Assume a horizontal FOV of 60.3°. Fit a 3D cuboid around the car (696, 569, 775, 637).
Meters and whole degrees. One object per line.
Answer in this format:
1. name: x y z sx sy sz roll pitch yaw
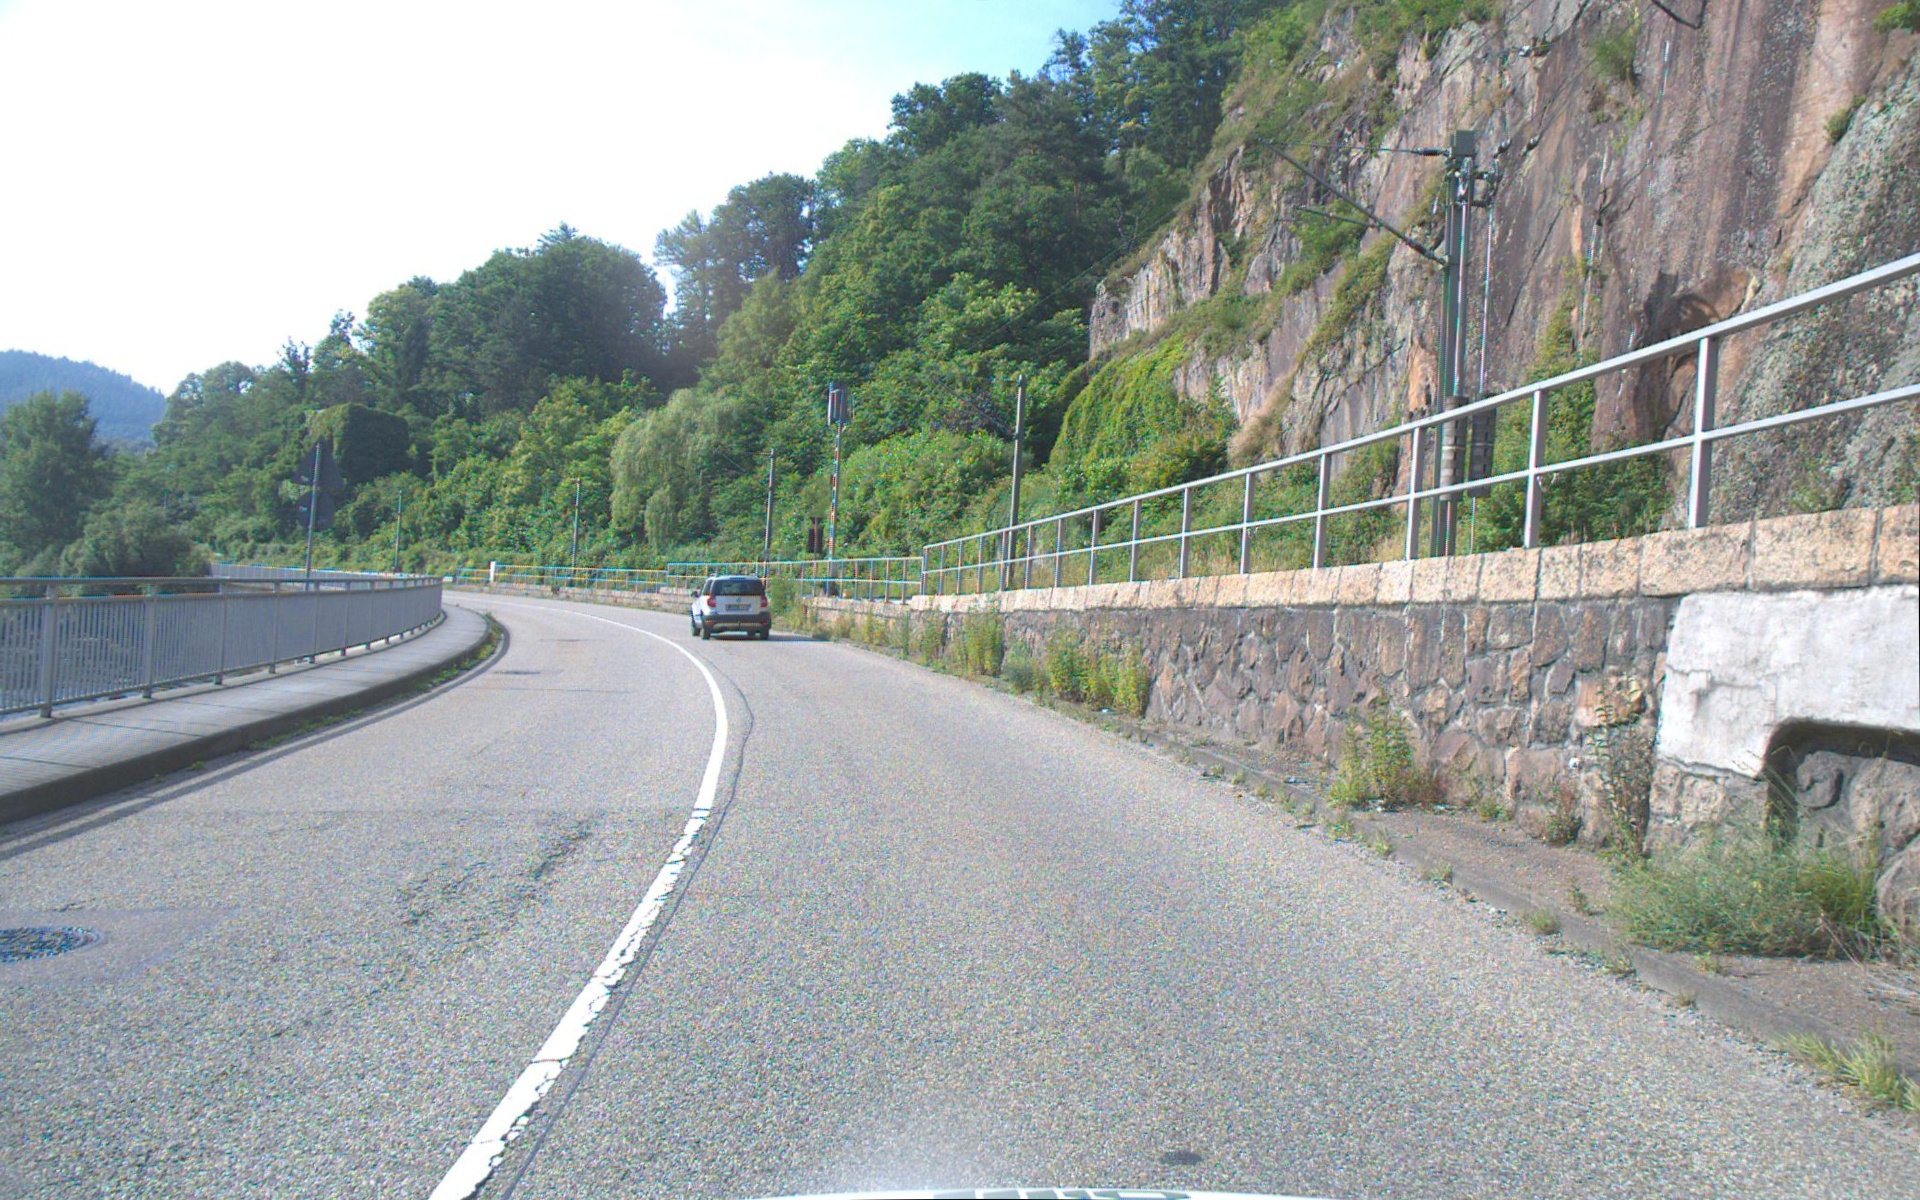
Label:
1. car: -5.961 0.041 43.588 1.839 1.684 3.990 1 1 -11
